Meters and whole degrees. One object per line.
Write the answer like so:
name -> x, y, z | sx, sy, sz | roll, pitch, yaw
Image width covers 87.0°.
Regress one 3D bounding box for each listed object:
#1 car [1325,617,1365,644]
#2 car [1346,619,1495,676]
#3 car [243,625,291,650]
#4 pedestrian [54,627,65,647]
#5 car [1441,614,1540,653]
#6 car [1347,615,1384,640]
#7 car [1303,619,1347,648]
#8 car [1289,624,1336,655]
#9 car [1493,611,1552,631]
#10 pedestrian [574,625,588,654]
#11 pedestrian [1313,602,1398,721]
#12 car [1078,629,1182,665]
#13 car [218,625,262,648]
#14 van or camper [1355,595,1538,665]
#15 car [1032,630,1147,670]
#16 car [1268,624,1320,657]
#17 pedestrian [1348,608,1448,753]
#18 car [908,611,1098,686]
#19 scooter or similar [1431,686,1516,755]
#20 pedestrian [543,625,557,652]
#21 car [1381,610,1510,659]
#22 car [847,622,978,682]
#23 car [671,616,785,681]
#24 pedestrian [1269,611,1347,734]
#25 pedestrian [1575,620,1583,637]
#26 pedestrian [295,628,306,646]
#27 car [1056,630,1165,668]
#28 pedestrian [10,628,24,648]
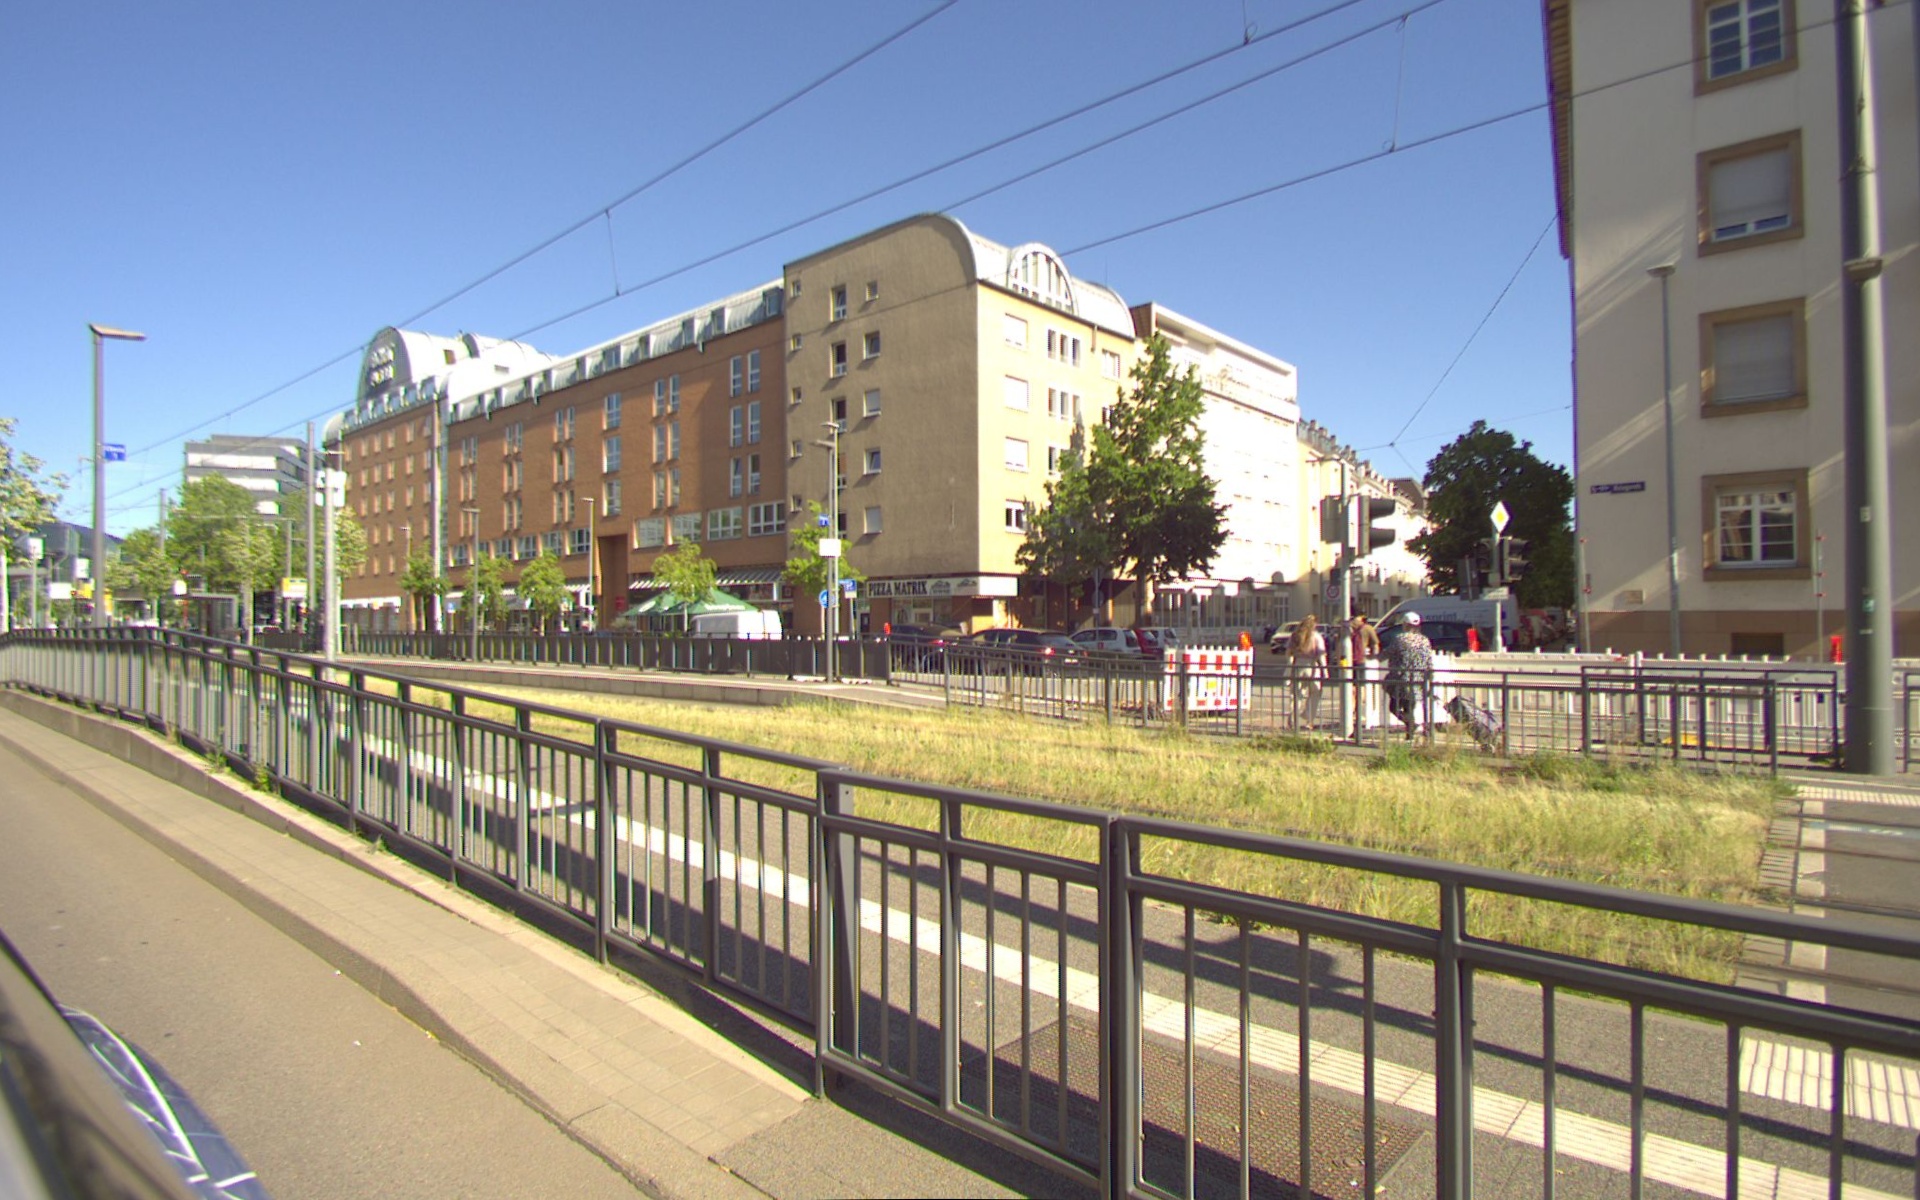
car -> 24.867, 1.947, 65.336 | 1.947, 1.674, 3.962 | -1, -2, 28
car -> 13.067, 1.324, 28.750 | 3.662, 1.533, 1.673 | -1, -2, 32
car -> -50.902, 2.730, 74.301 | 3.998, 1.696, 1.973 | -1, 0, 41
pedestrian -> -71.035, 2.919, 79.828 | 0.600, 1.581, 0.910 | -1, -1, -39
car -> 25.231, 1.574, 48.200 | 3.990, 1.789, 1.722 | -1, -2, 35
car -> 28.193, 1.911, 70.314 | 1.947, 1.674, 3.962 | -1, -2, 28
car -> 22.139, 2.008, 61.337 | 1.947, 1.674, 3.962 | -1, -2, 28
car -> 20.043, 2.214, 57.482 | 1.947, 1.674, 3.962 | -1, -2, 28
car -> 44.140, 1.670, 79.461 | 3.853, 1.472, 1.740 | -1, -2, 24
pedestrian -> -24.750, 2.558, 66.112 | 0.644, 1.854, 0.614 | -2, -2, 41
pedestrian -> 6.252, 0.944, 15.999 | 0.854, 1.794, 0.911 | -1, -1, -39
car -> 7.159, 1.955, 42.579 | 3.980, 1.462, 1.768 | -1, -2, 28
car -> -58.022, 2.949, 81.529 | 3.998, 1.696, 1.973 | -1, 0, 41
van or camper -> 17.933, 1.106, 37.431 | 5.933, 2.419, 1.979 | -1, -2, 30
car -> 4.940, 1.885, 38.649 | 3.980, 1.462, 1.768 | -1, -2, 28
car -> 17.709, 2.112, 53.563 | 1.947, 1.674, 3.962 | -1, -2, 28
pedestrian -> 4.950, 0.872, 11.437 | 0.815, 1.548, 0.787 | -2, -1, 41
car -> 0.888, 1.044, 22.537 | 3.998, 1.527, 1.797 | -2, -2, 41
scooter or similar -> 5.558, 1.292, 10.959 | 0.709, 0.656, 0.509 | -2, -1, 41
pedestrian -> -28.252, 2.675, 69.752 | 0.644, 1.854, 0.614 | -2, -2, 39
car -> 15.918, 1.129, 33.247 | 3.654, 1.533, 1.673 | -1, -2, 32
car -> -1.535, 1.608, 31.991 | 3.997, 1.773, 1.796 | -2, -2, 40
car -> -9.305, 1.860, 40.213 | 1.969, 2.388, 5.653 | 0, -2, -41
pedestrian -> 4.623, 0.938, 13.433 | 0.903, 1.548, 0.861 | -1, -1, 23
pedestrian -> 63.911, 2.923, 104.483 | 0.687, 1.768, 0.807 | -2, -2, 34
pedestrian -> -64.104, 3.570, 98.431 | 0.779, 1.769, 0.707 | -2, -2, 41
car -> 6.001, 1.943, 40.474 | 3.980, 1.462, 1.768 | -1, -2, 28
pedestrian -> -72.298, 2.911, 77.613 | 0.599, 1.581, 0.730 | 0, -2, -29
